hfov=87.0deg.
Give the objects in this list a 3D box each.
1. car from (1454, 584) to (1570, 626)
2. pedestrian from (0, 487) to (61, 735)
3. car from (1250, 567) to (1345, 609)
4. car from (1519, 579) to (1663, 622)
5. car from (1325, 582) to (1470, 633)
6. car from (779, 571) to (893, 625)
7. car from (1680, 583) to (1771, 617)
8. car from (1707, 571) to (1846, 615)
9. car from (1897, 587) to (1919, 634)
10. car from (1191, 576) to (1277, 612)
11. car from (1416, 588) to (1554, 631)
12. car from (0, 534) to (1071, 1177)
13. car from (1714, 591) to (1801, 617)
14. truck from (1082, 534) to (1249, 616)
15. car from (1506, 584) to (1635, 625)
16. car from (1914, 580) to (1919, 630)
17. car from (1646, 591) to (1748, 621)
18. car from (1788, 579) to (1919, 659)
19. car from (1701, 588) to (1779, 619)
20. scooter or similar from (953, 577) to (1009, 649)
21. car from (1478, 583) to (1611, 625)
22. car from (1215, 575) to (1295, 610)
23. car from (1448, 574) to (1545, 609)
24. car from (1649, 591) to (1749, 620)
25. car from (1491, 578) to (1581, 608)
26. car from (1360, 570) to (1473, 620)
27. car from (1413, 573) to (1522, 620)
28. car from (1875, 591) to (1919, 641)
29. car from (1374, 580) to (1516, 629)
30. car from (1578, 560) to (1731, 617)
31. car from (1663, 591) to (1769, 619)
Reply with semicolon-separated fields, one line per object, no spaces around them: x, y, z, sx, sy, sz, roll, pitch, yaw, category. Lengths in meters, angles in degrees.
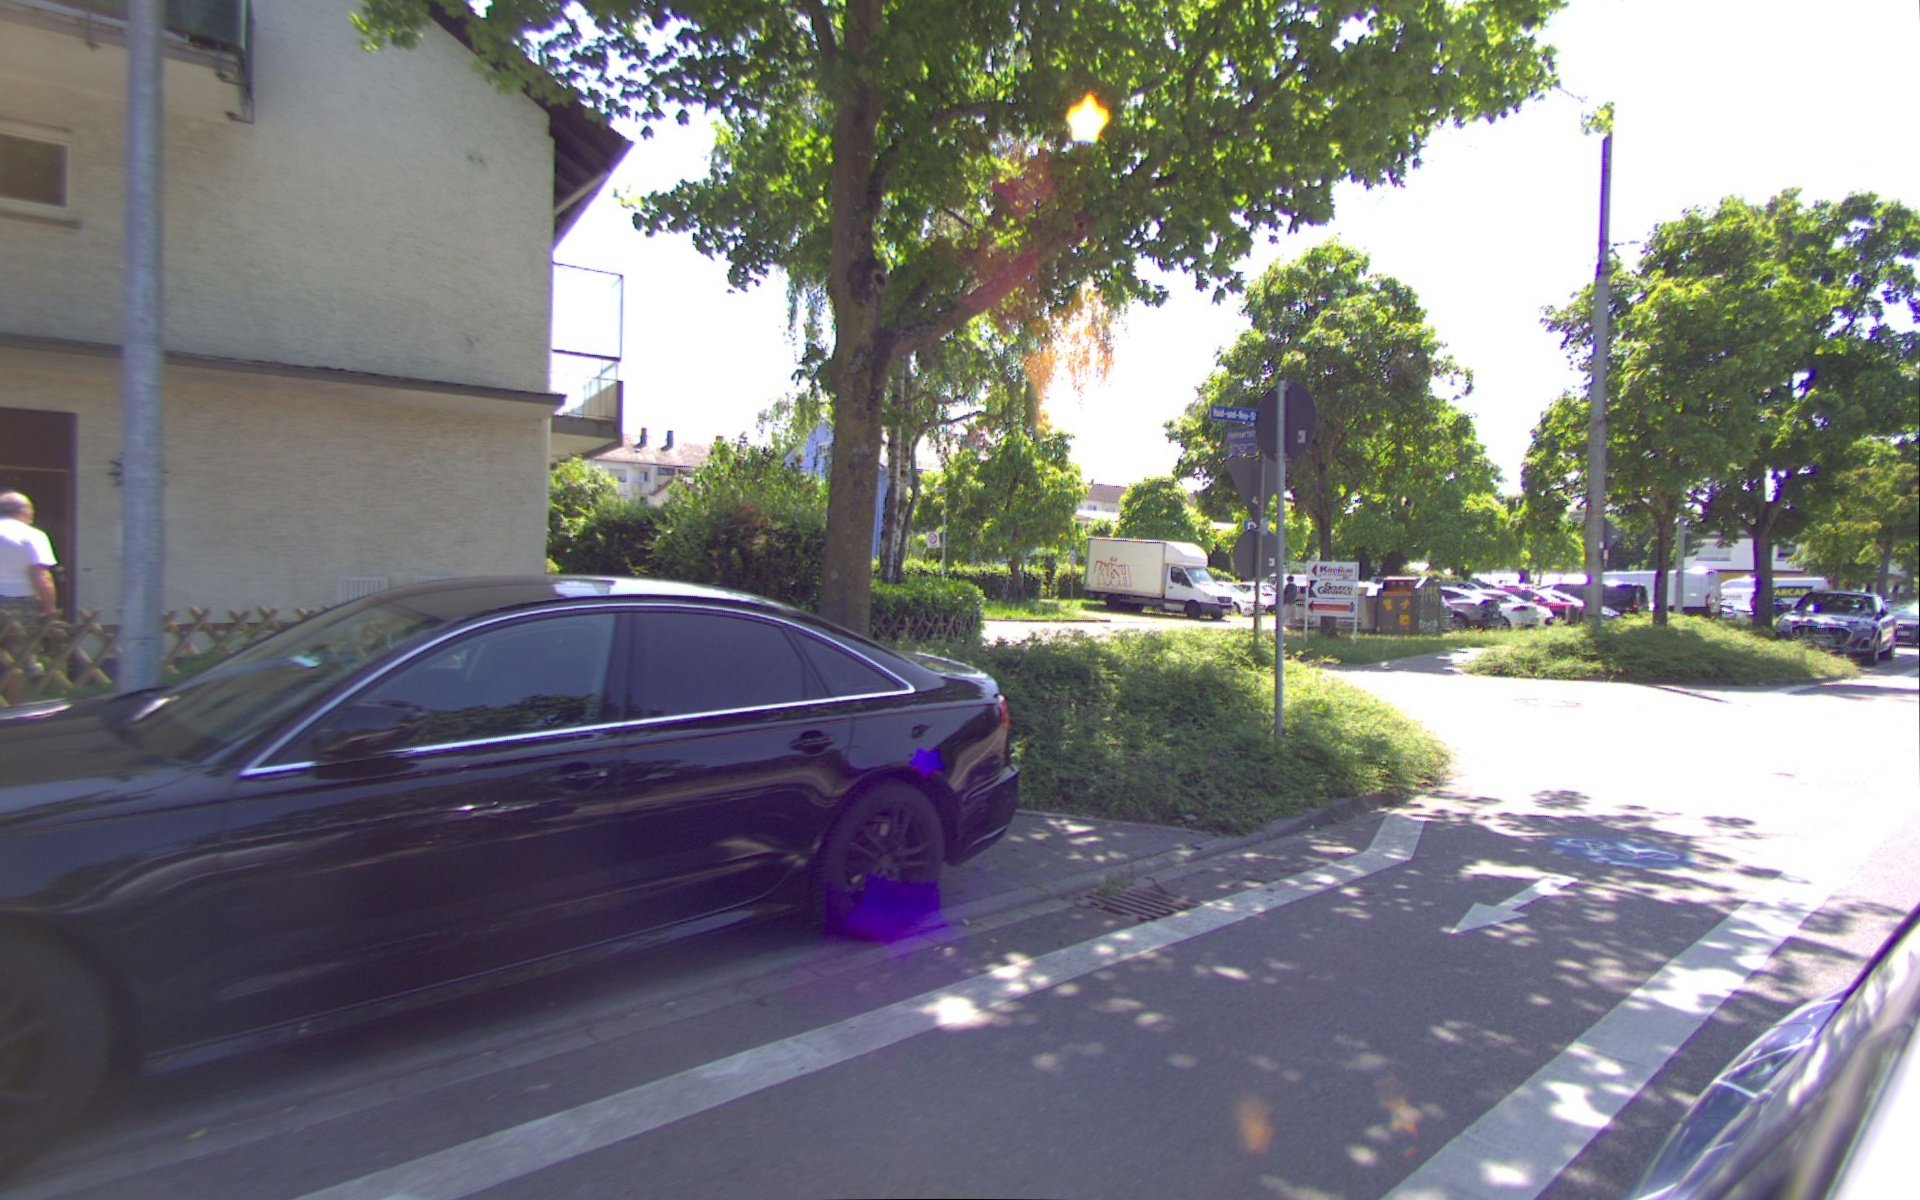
20.009;0.180;36.788;1.652;1.446;3.342;0;0;-39;car
-7.019;0.066;7.380;0.747;1.743;0.623;2;1;44;pedestrian
16.546;-0.606;49.720;1.724;1.829;4.006;0;4;-43;car
26.007;0.004;41.871;1.919;1.665;4.703;0;0;-39;car
13.795;0.220;32.030;1.740;1.508;3.865;0;0;-42;car
-3.517;-0.080;28.196;1.687;1.362;3.797;1;1;-32;car
42.297;-0.006;55.933;1.922;1.807;3.781;0;0;-44;car
50.337;-0.423;62.532;2.221;2.561;6.358;0;0;-37;car
34.433;0.424;35.475;3.770;1.559;1.717;1;4;-39;car
12.640;-0.298;46.825;1.651;1.445;3.476;1;4;-38;car
18.038;0.300;34.905;1.738;1.375;3.868;0;0;-39;car
-1.858;0.569;3.968;4.742;1.453;1.844;0;4;-43;car
48.009;0.219;60.947;1.698;1.490;3.891;0;0;-42;car
8.711;-1.166;43.706;2.382;3.122;6.963;0;4;-41;truck
23.885;0.161;39.707;1.739;1.509;4.027;0;0;-41;car
38.753;0.285;39.067;5.180;1.900;2.004;1;4;-39;car
36.604;0.291;50.293;1.699;1.424;3.888;0;0;-44;car
21.649;0.388;24.431;4.626;1.652;1.716;-1;5;-41;car
45.969;0.185;59.657;1.697;1.739;3.378;0;0;-40;car
0.389;0.229;19.189;0.589;1.287;1.191;1;1;-24;scooter or similar
21.969;0.122;38.170;1.739;1.509;4.027;0;0;-41;car
14.242;-0.377;48.916;1.651;1.445;3.345;1;4;-38;car
34.740;-0.588;65.649;2.057;1.899;5.111;1;4;-39;car
38.003;0.266;52.097;1.698;1.424;3.891;0;0;-42;car
41.679;-0.523;73.335;2.057;1.773;5.168;1;4;-39;car
26.425;-0.340;58.765;2.057;2.489;5.506;1;4;-39;car
31.142;-0.274;62.256;2.057;2.489;5.506;1;4;-39;car
30.605;0.503;32.189;4.628;1.435;1.716;0;4;-43;car
15.846;0.136;33.180;1.740;1.508;3.865;0;0;-42;car
31.977;-0.514;46.737;2.057;2.490;5.502;0;0;-39;car
40.107;0.259;53.747;1.698;1.424;4.282;0;0;-42;car
